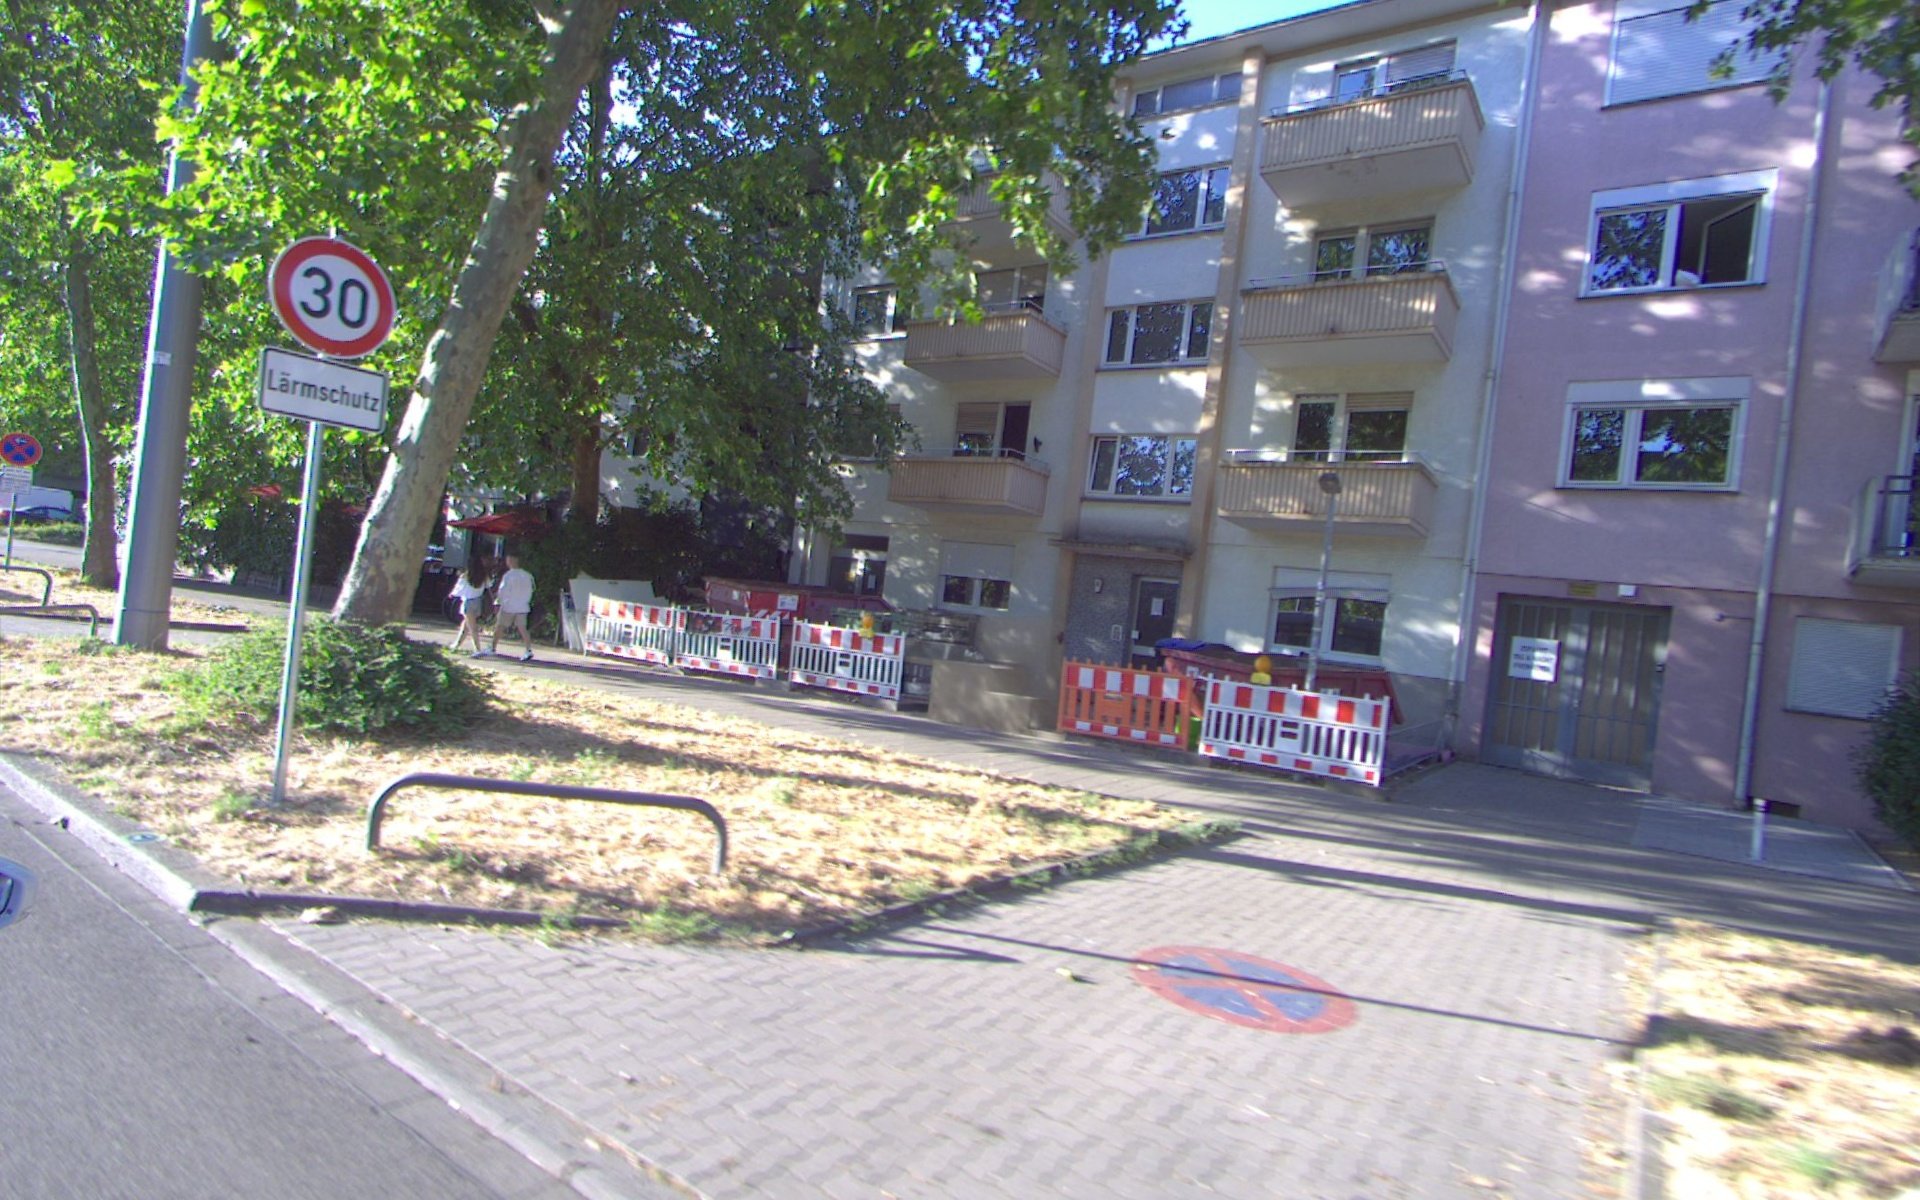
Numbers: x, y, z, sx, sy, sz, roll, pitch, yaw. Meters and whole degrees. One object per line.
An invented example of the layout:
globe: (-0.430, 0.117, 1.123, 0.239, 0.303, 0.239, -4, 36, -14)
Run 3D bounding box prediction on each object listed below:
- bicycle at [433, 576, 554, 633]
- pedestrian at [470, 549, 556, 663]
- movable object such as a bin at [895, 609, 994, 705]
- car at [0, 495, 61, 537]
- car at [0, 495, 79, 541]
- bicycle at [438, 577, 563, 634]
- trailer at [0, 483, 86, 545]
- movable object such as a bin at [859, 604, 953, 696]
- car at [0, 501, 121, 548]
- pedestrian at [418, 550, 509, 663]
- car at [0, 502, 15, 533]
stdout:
bicycle: (-10.661, 0.120, 23.064, 0.655, 1.036, 2.370, 6, -2, 44)
pedestrian: (-7.139, 0.100, 16.077, 0.803, 1.687, 0.791, 7, 0, 32)
movable object such as a bin: (-0.262, 0.963, 17.087, 1.286, 1.452, 0.832, 7, 0, -34)
car: (-44.097, -3.997, 46.154, 1.680, 1.657, 3.920, 6, -1, 37)
car: (-42.158, -3.750, 44.884, 1.680, 1.656, 3.920, 6, -1, 37)
bicycle: (-10.122, 0.142, 22.242, 0.655, 1.036, 2.370, 6, -1, 42)
trailer: (-38.267, -3.574, 41.397, 1.850, 2.094, 3.064, 7, -1, 38)
movable object such as a bin: (-0.961, 0.888, 17.822, 1.283, 1.452, 0.834, 7, 0, -27)
car: (-36.088, -3.021, 39.958, 1.681, 1.352, 3.919, 6, -1, 38)
pedestrian: (-7.587, 0.105, 15.385, 0.803, 1.591, 0.791, 7, 0, 32)
car: (-52.856, -4.623, 53.156, 1.680, 1.607, 3.920, 6, -1, 37)
